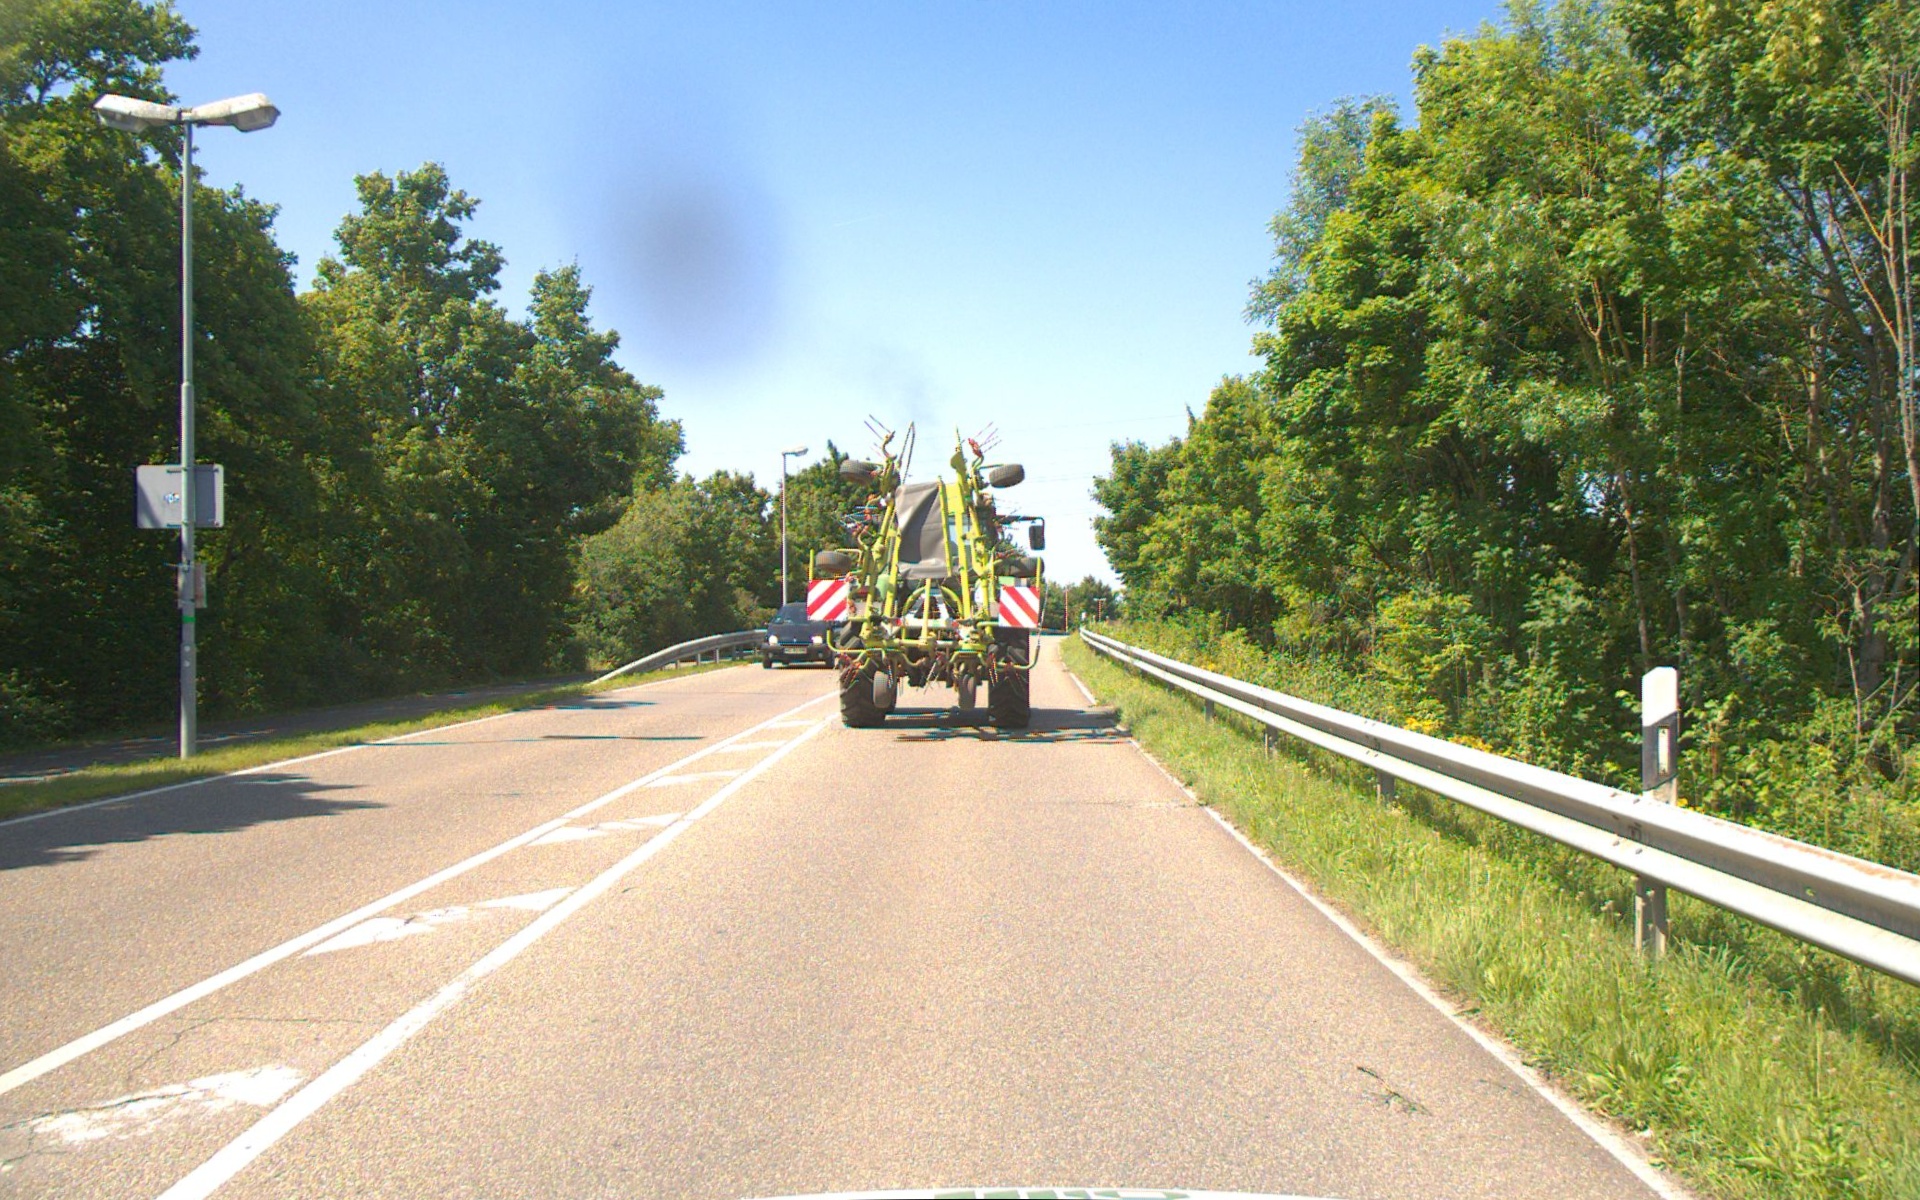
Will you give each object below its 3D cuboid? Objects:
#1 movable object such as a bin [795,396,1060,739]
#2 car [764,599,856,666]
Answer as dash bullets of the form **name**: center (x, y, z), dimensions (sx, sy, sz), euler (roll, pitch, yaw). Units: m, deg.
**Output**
- **movable object such as a bin**: center (-0.303, -0.321, 19.730), dimensions (2.698, 3.504, 5.670), euler (0, 0, 0)
- **car**: center (-3.366, 0.716, 37.559), dimensions (1.593, 1.429, 3.434), euler (0, -1, 3)
